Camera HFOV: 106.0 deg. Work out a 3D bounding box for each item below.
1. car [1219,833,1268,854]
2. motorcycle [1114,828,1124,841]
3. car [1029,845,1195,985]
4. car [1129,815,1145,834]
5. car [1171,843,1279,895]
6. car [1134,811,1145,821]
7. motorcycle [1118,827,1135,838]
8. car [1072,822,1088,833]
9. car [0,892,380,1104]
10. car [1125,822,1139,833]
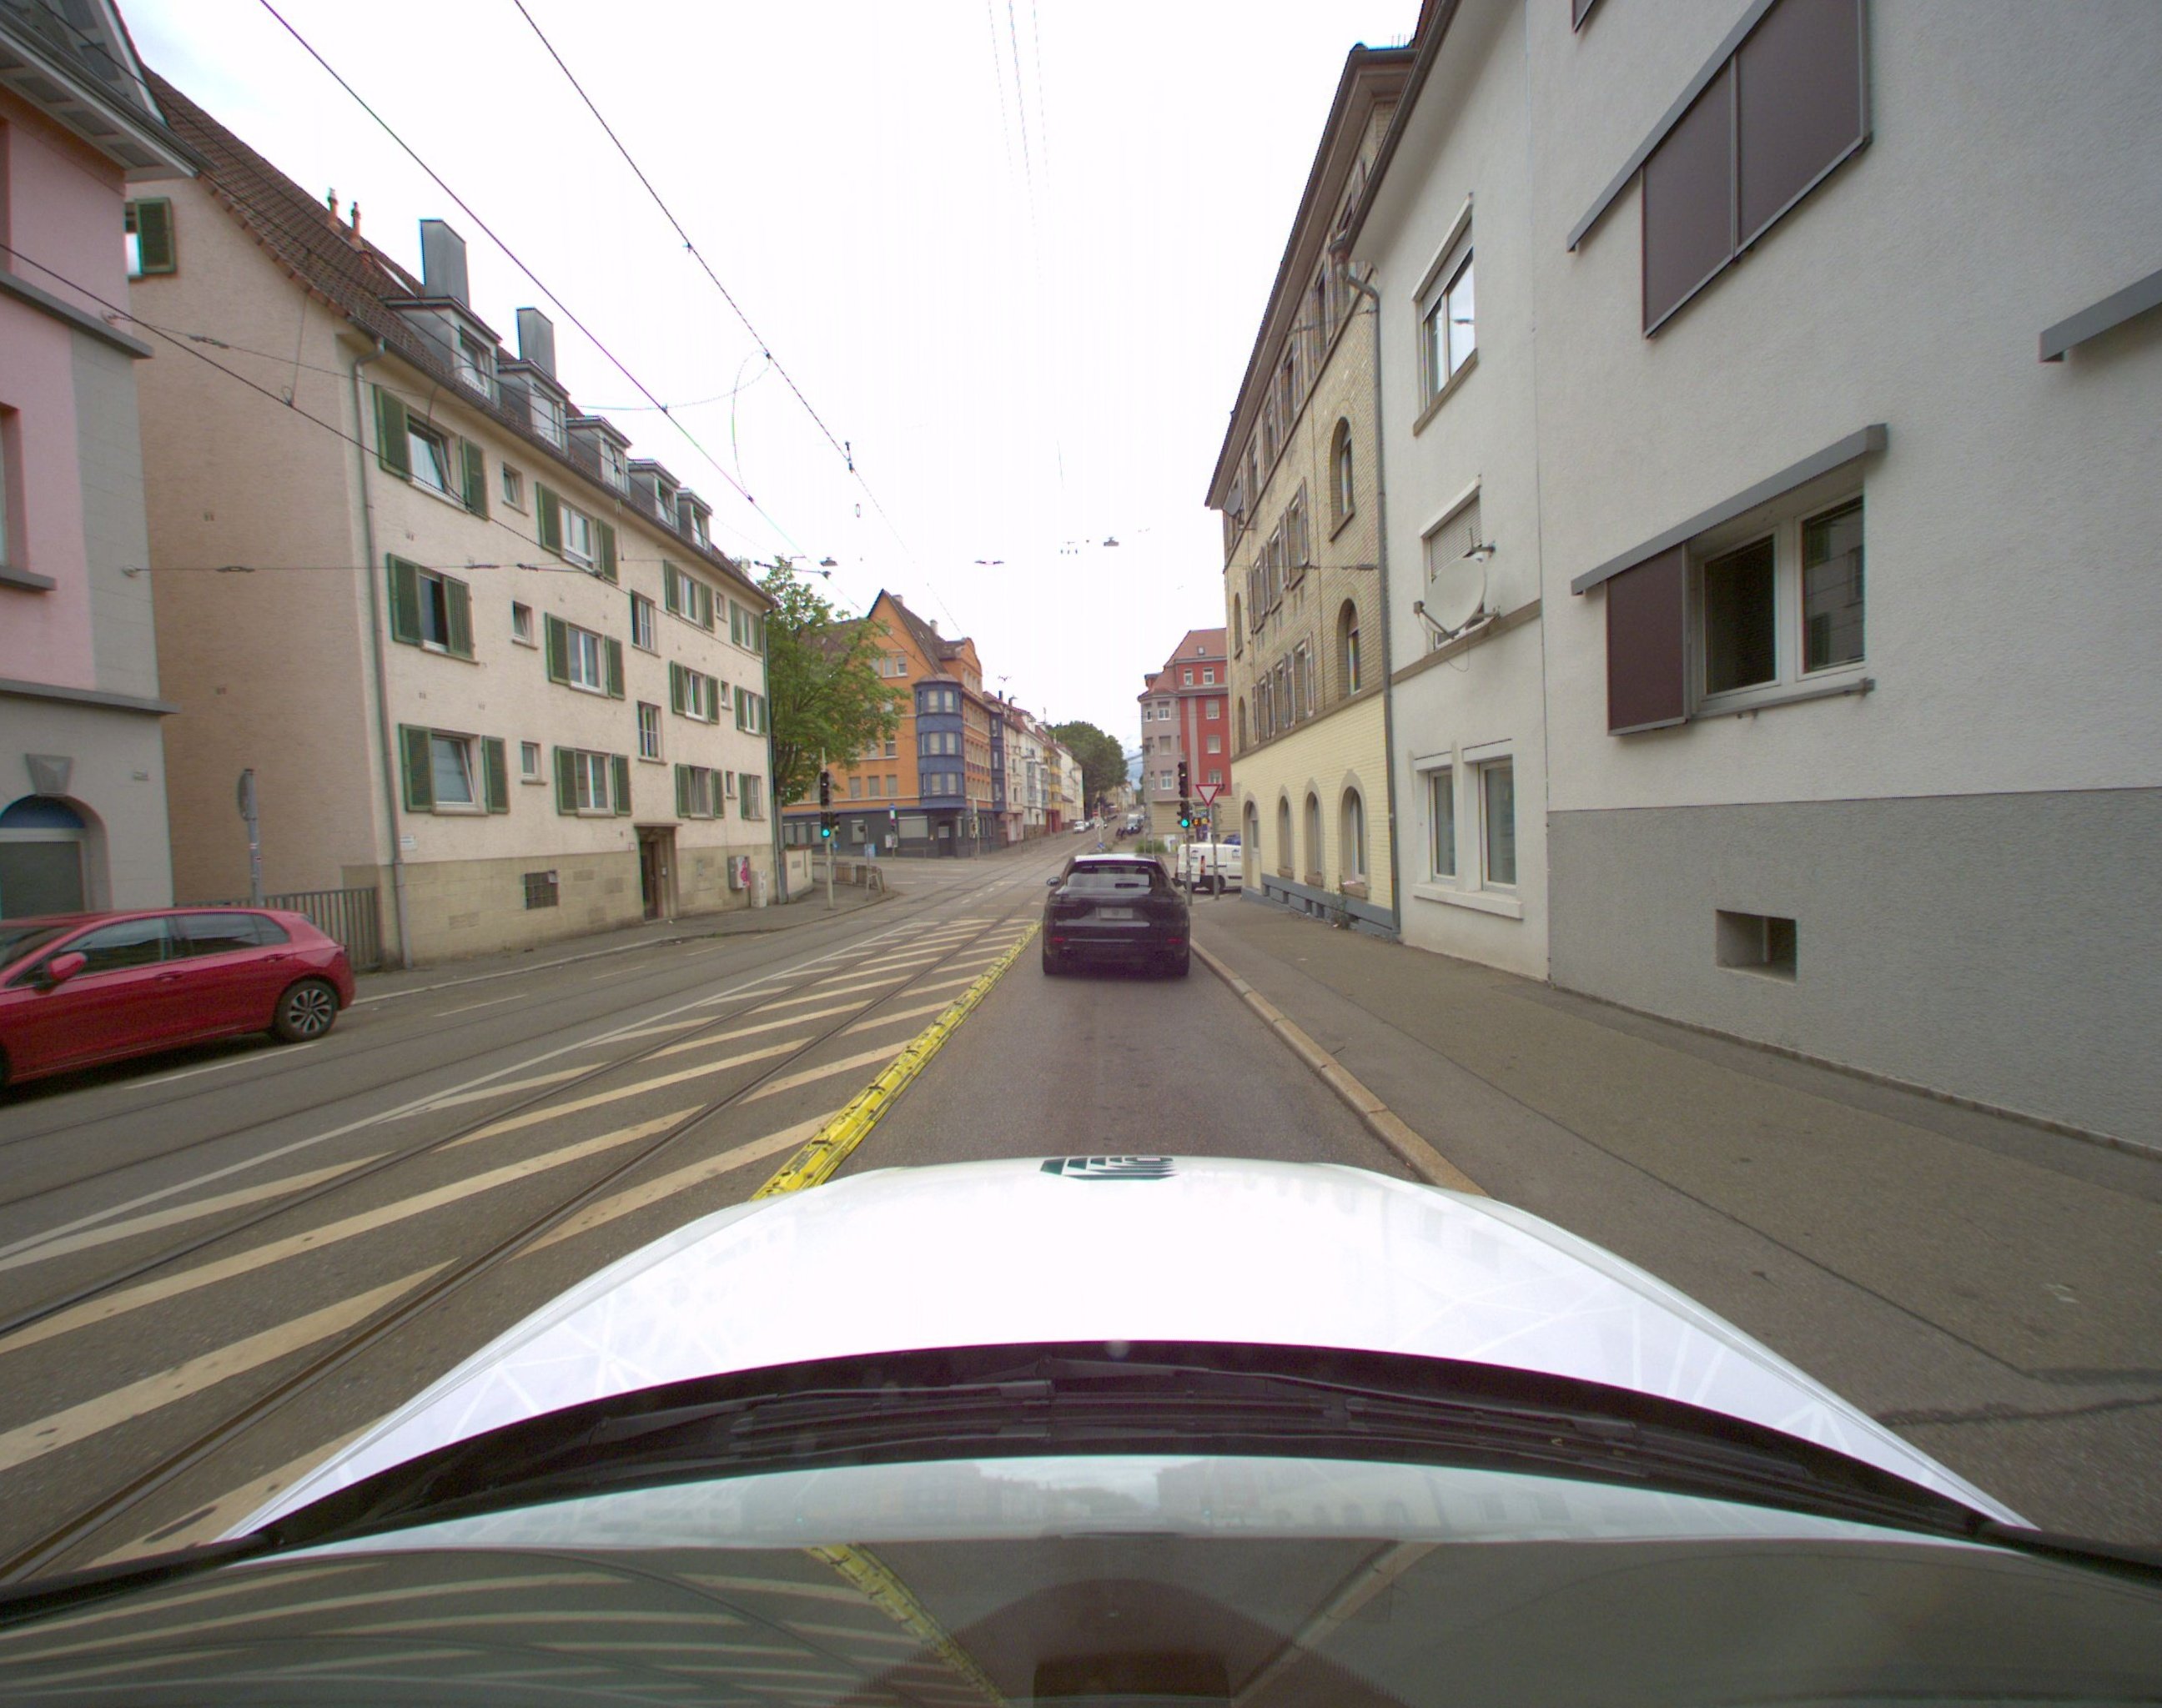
[{"bbox_3d":[13.888,-0.933,69.607,4.163,1.534,1.896,-4,5,-40],"label":"car"},{"bbox_3d":[4.496,-2.301,95.807,0.858,1.326,2.182,-7,3,-3],"label":"motorcycle"},{"bbox_3d":[0.676,0.725,12.285,2.012,1.641,4.366,1,1,8],"label":"car"},{"bbox_3d":[8.611,-4.585,125.156,2.256,2.889,4.779,1,2,6],"label":"car"},{"bbox_3d":[5.917,0.548,33.292,4.302,1.883,1.851,-2,2,-34],"label":"car"},{"bbox_3d":[13.459,-8.742,185.944,2.256,2.183,4.779,1,2,6],"label":"car"},{"bbox_3d":[5.897,-2.809,106.304,2.173,1.326,0.698,0,2,-5],"label":"motorcycle"},{"bbox_3d":[-0.149,-4.293,131.548,1.983,1.692,4.008,1,2,6],"label":"car"},{"bbox_3d":[-8.837,1.176,7.008,1.778,1.438,4.262,-3,-1,2],"label":"car"},{"bbox_3d":[7.563,-3.851,119.503,1.831,1.568,3.827,1,2,6],"label":"car"}]
